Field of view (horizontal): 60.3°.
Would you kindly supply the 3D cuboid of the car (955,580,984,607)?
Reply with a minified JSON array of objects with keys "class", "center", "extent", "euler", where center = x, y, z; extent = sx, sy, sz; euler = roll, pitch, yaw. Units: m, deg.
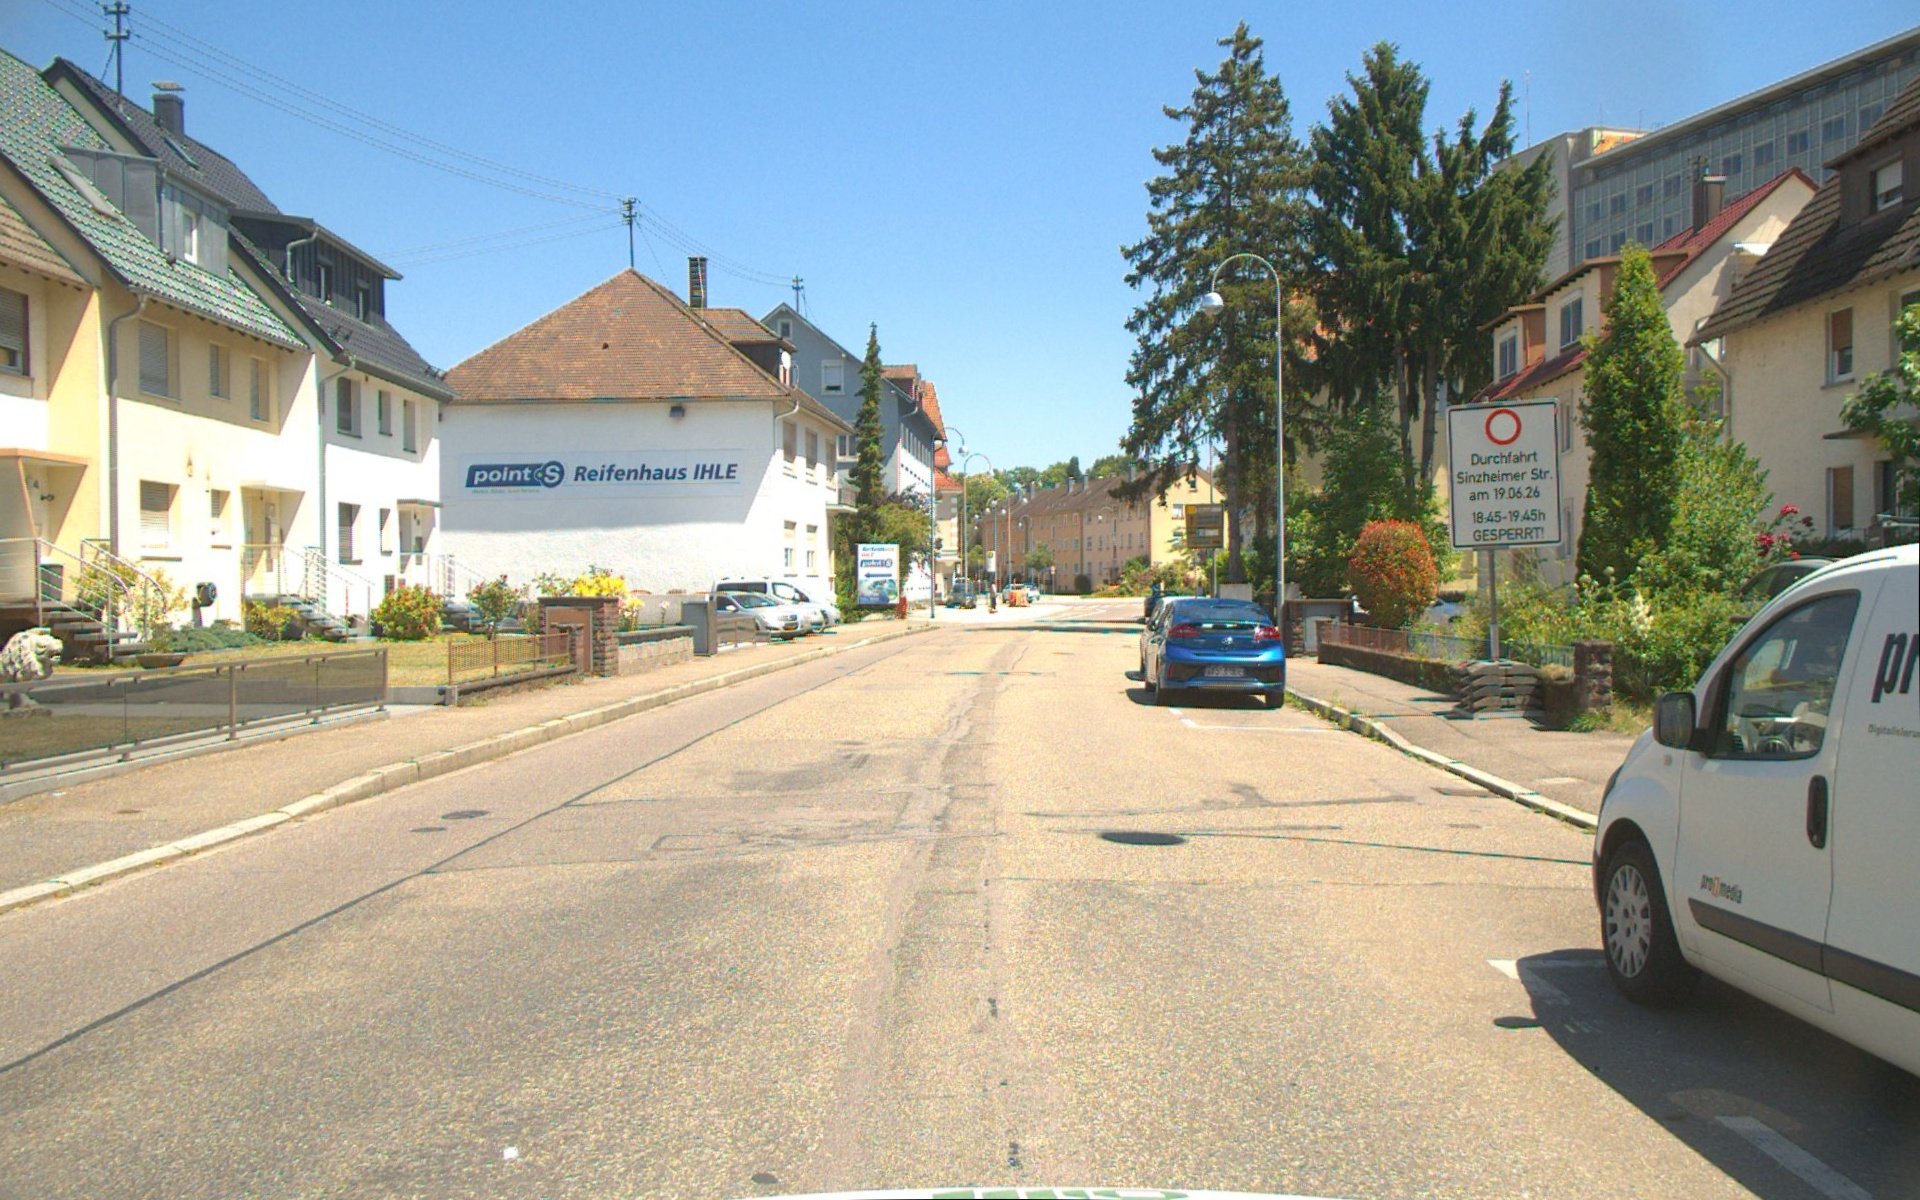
[{"class":"car","center":[0.621,-0.417,104.393],"extent":[1.720,1.685,4.001],"euler":[0,0,2]}]

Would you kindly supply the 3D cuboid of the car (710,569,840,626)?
[{"class":"car","center":[-6.023,-0.086,54.076],"extent":[4.045,1.805,1.828],"euler":[0,1,-1]}]

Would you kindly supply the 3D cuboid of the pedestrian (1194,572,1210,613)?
[{"class":"pedestrian","center":[10.945,-0.339,74.764],"extent":[0.674,1.801,0.692],"euler":[0,-1,10]}]

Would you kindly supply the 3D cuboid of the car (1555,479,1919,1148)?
[{"class":"car","center":[3.405,0.596,5.207],"extent":[1.629,1.785,4.000],"euler":[2,0,1]}]

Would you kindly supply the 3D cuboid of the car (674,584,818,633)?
[{"class":"car","center":[-6.296,0.226,48.550],"extent":[4.061,1.367,1.903],"euler":[0,1,37]}]

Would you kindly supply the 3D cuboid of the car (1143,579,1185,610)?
[{"class":"car","center":[10.608,-0.296,85.986],"extent":[1.756,1.536,4.004],"euler":[0,1,13]}]

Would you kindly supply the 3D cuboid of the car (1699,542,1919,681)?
[{"class":"car","center":[11.184,0.100,21.083],"extent":[1.757,1.597,4.000],"euler":[0,1,0]}]

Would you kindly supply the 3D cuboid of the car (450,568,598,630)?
[{"class":"car","center":[-11.404,-0.056,43.152],"extent":[3.924,1.536,1.791],"euler":[1,2,39]}]

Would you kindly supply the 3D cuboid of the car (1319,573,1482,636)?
[{"class":"car","center":[11.723,0.103,44.217],"extent":[3.904,1.639,1.834],"euler":[0,1,2]}]

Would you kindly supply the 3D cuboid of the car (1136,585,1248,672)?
[{"class":"car","center":[4.250,0.472,30.753],"extent":[1.689,1.444,4.016],"euler":[1,1,3]}]

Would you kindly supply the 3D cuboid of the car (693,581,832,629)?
[{"class":"car","center":[-6.106,0.148,51.462],"extent":[4.043,1.418,1.829],"euler":[0,1,2]}]

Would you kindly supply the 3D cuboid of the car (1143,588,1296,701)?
[{"class":"car","center":[3.701,0.577,24.232],"extent":[1.741,1.430,4.288],"euler":[1,1,3]}]
